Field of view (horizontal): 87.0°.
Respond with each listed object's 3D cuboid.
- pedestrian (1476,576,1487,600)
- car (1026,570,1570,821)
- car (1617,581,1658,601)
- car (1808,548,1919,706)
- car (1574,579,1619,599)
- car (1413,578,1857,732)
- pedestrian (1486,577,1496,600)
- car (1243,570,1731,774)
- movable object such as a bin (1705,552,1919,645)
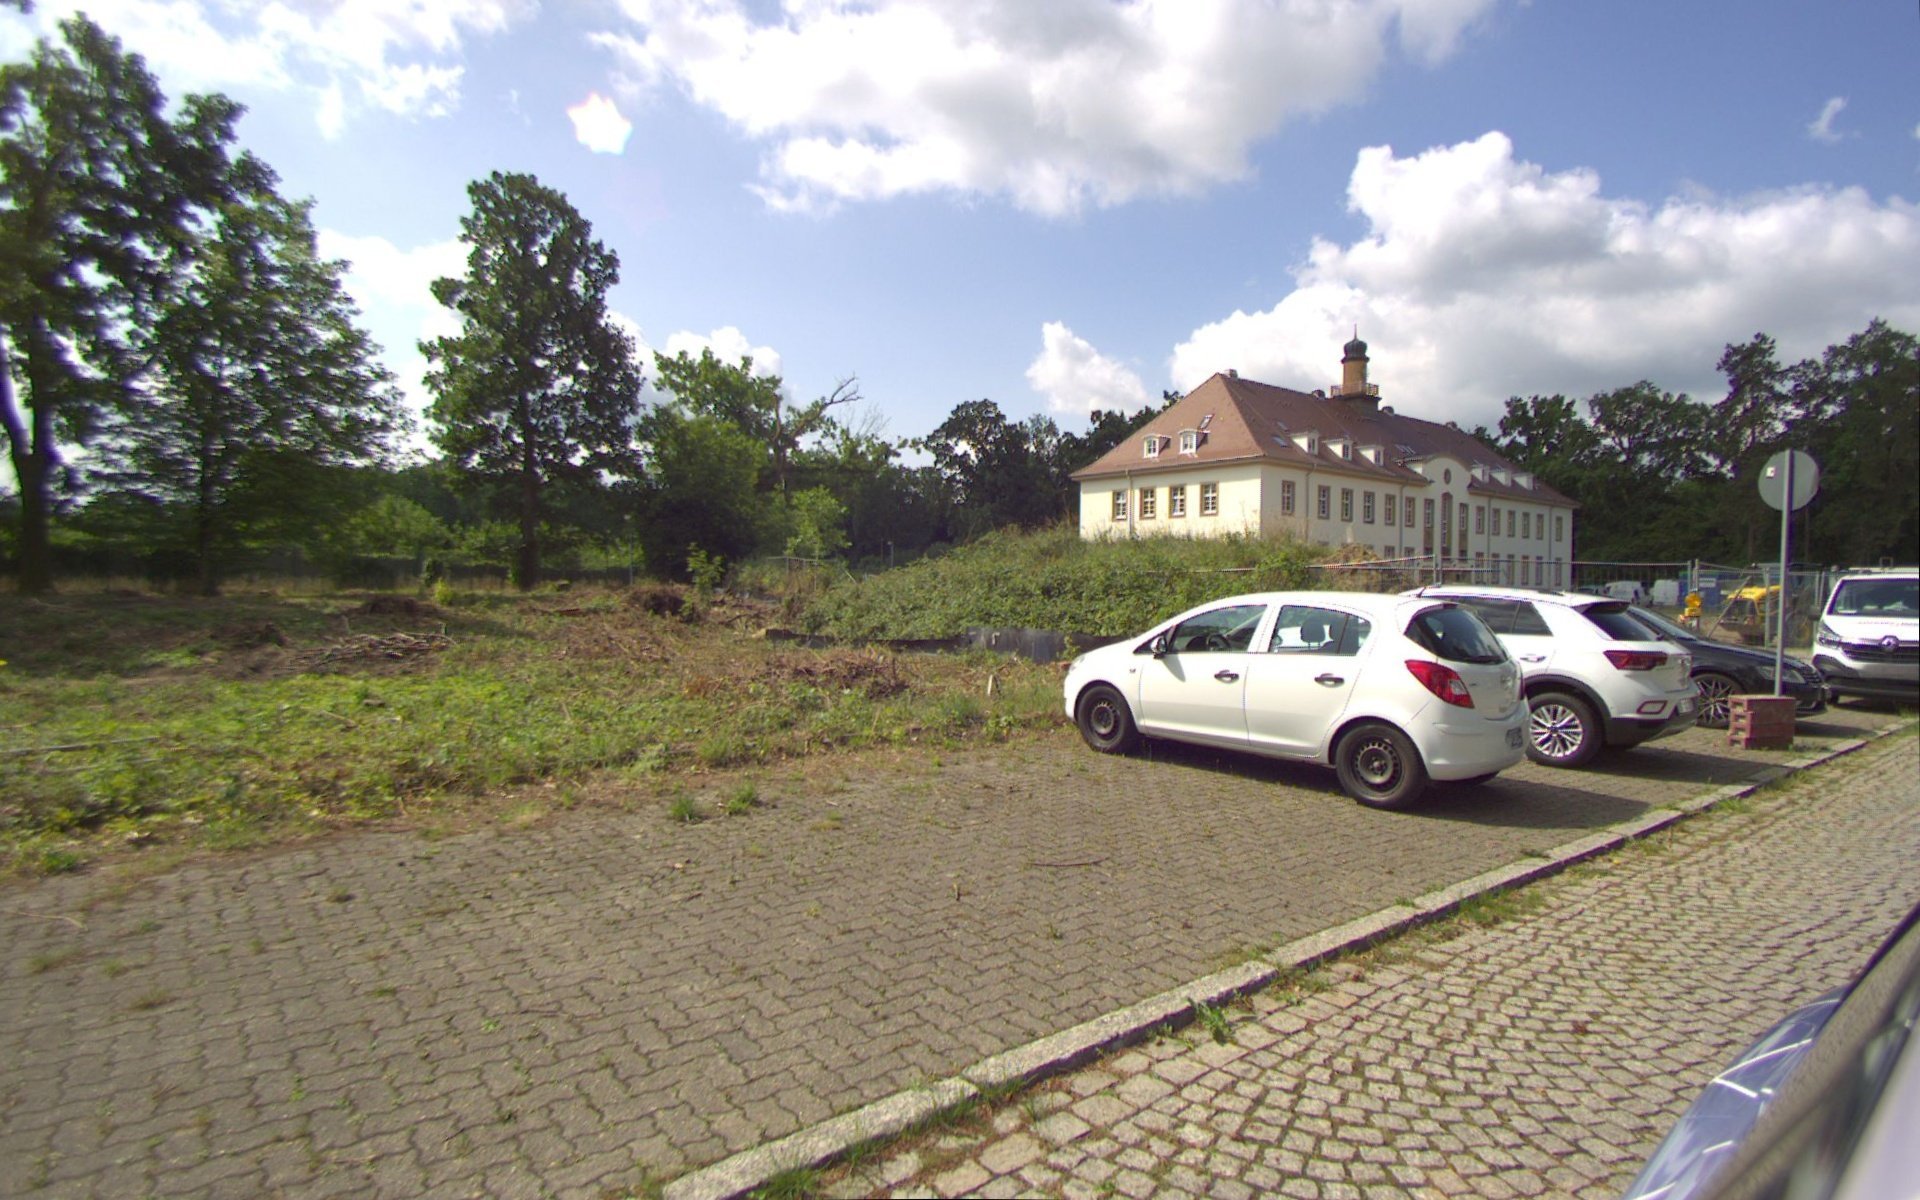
[{"bbox_3d":[40.733,-0.927,79.062,0.496,1.810,0.492,1,0,-16],"label":"pedestrian"},{"bbox_3d":[2.585,0.562,8.547,1.674,1.482,4.051,0,3,-40],"label":"car"},{"bbox_3d":[58.560,-0.797,87.456,3.965,1.704,1.803,0,2,-38],"label":"car"},{"bbox_3d":[14.720,0.330,15.156,5.574,2.079,1.919,0,2,-38],"label":"car"},{"bbox_3d":[56.546,-0.964,89.904,4.621,1.749,1.885,0,2,-38],"label":"car"},{"bbox_3d":[8.487,0.552,13.077,1.716,1.493,4.461,0,3,-42],"label":"car"},{"bbox_3d":[41.910,-0.933,79.879,0.498,1.810,0.490,0,0,-41],"label":"pedestrian"},{"bbox_3d":[5.085,0.529,10.224,1.716,1.525,3.996,0,3,-40],"label":"car"},{"bbox_3d":[25.954,-0.055,30.620,5.539,2.553,2.154,2,1,-10],"label":"movable object such as a bin"}]
